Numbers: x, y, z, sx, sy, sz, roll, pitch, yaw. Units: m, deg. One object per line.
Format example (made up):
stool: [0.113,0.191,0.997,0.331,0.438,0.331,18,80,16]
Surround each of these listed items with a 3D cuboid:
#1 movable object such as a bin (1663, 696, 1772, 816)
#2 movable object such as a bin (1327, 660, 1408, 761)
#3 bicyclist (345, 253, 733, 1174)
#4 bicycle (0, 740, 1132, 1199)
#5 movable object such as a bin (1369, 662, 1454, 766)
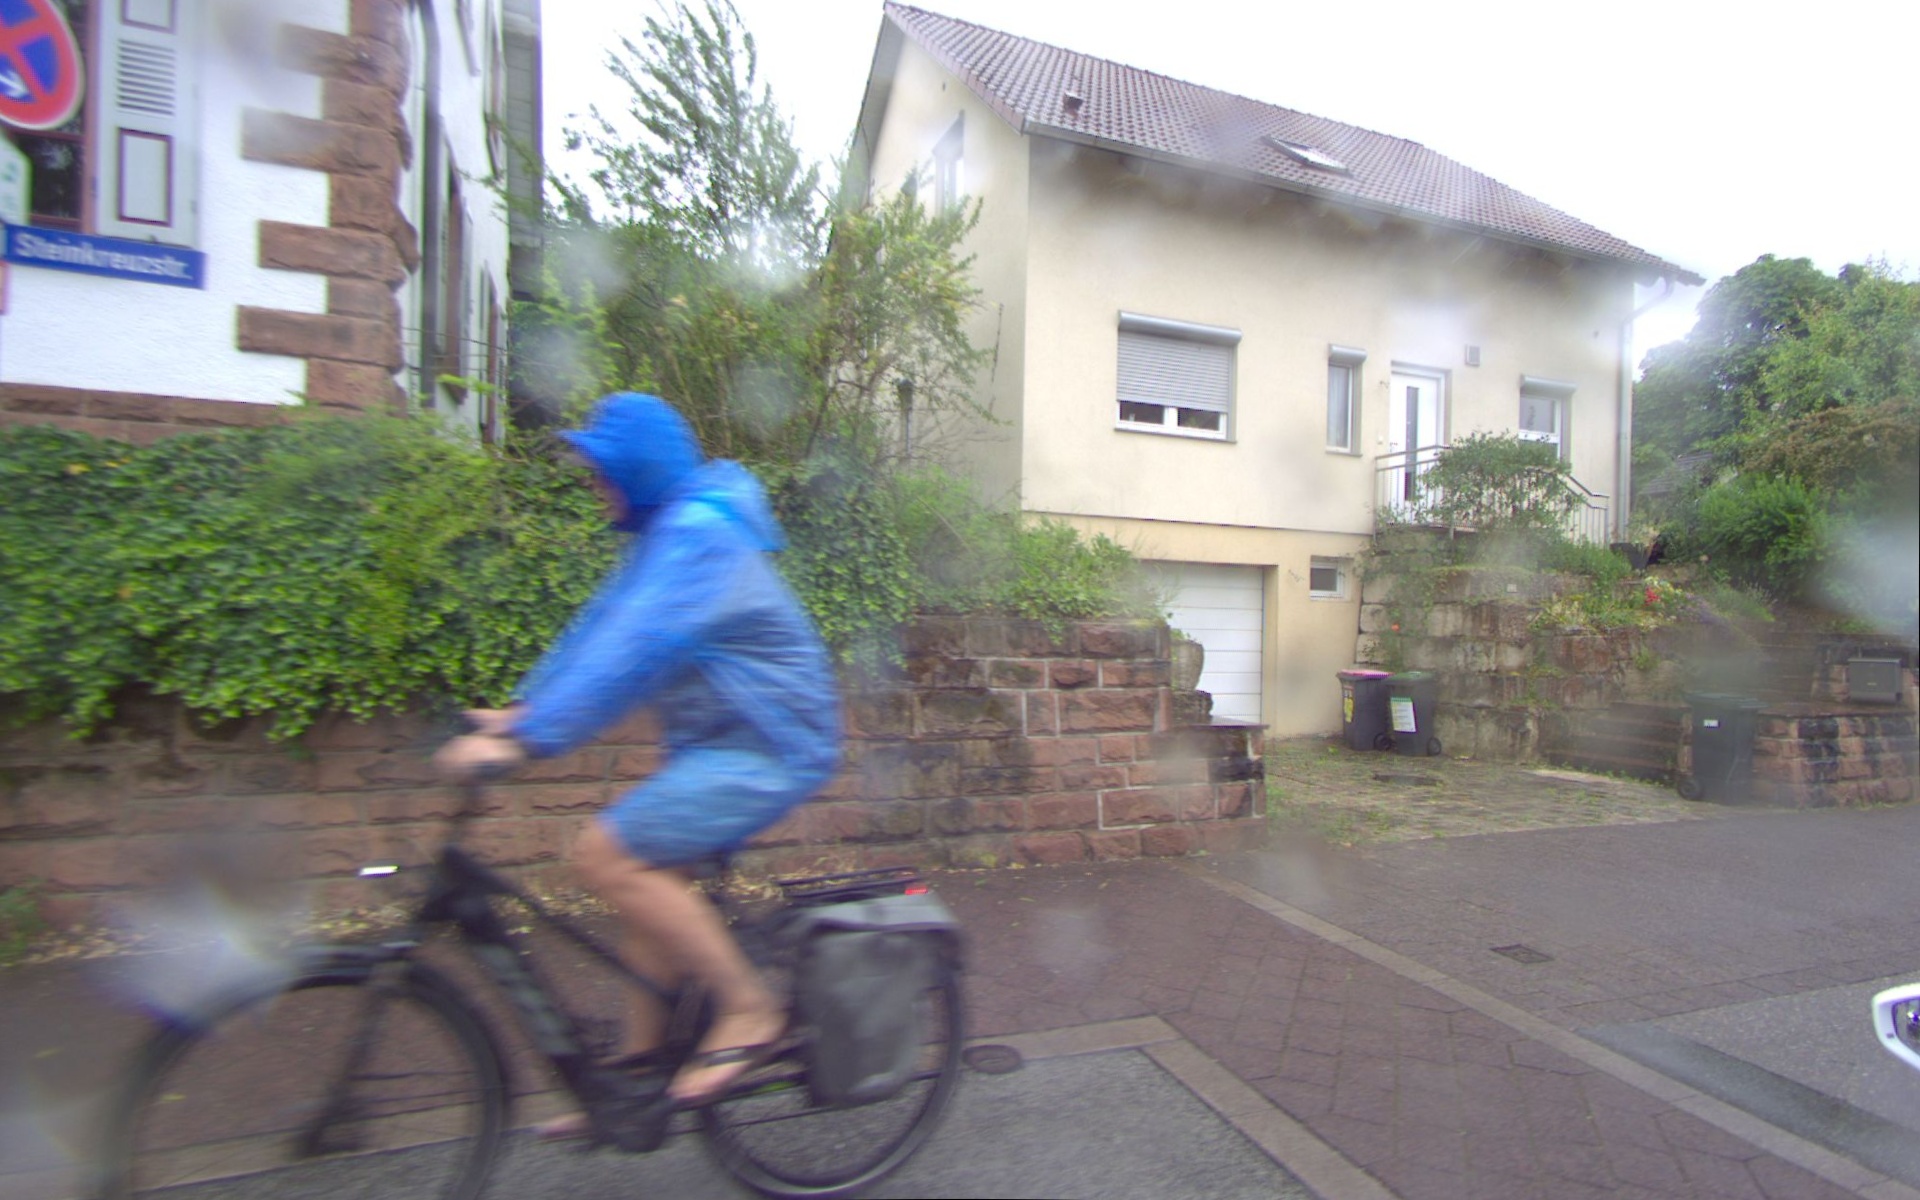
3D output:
movable object such as a bin: [6.570,1.330,8.722,0.537,0.942,0.536,2,0,-24]
movable object such as a bin: [4.896,1.314,12.094,0.639,1.122,0.606,1,1,-16]
bicyclist: [-0.947,0.221,2.342,0.693,1.736,0.686,1,1,-22]
bicycle: [-0.818,0.898,2.168,2.305,1.065,0.679,2,0,-22]
movable object such as a bin: [5.147,1.278,11.473,0.646,1.077,0.621,-1,1,-20]
